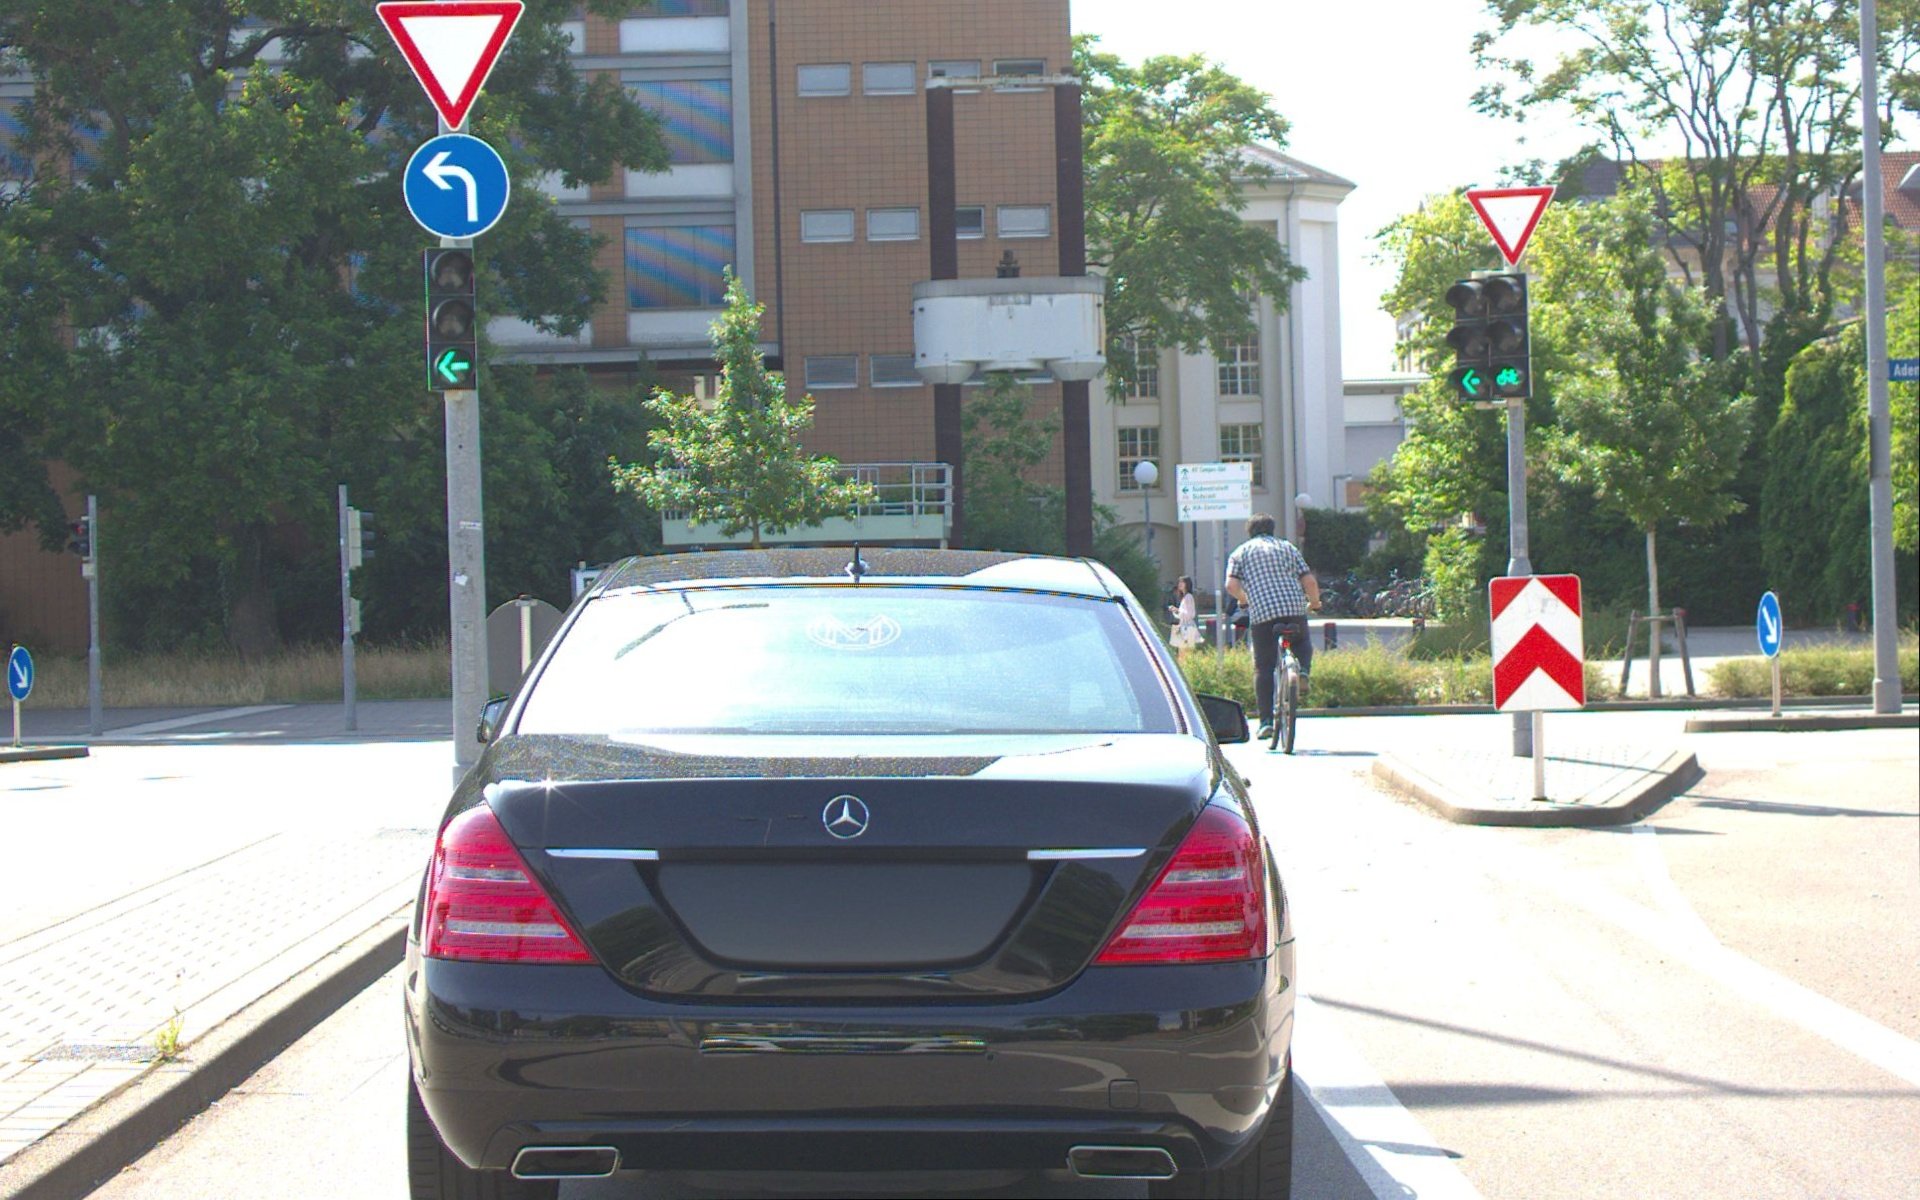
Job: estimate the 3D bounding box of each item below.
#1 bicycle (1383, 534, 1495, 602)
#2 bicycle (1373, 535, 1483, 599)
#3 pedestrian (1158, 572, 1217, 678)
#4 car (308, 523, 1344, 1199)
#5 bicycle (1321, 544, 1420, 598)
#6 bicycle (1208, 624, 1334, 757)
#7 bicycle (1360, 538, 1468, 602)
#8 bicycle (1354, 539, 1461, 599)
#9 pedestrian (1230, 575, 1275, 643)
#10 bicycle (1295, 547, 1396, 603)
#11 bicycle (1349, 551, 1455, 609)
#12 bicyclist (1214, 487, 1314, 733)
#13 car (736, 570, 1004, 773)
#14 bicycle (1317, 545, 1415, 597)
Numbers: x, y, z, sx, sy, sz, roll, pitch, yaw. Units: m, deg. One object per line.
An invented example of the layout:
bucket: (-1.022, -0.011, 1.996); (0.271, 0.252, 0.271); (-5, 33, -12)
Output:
bicycle: (12.854, -0.864, 92.326); (2.823, 1.738, 0.842); (-2, 1, -1)
bicycle: (12.716, -0.893, 93.426); (2.823, 1.643, 0.842); (-2, 1, -1)
pedestrian: (3.437, 0.370, 51.956); (0.811, 1.574, 0.692); (-2, 0, 2)
car: (-0.314, 0.615, 8.554); (1.858, 1.525, 4.714); (0, 0, -2)
bicycle: (12.299, -0.872, 103.089); (2.823, 1.495, 0.842); (-2, 1, -1)
bicycle: (2.363, 0.673, 26.306); (0.692, 0.943, 1.958); (1, 0, -2)
bicycle: (12.501, -0.838, 94.763); (2.823, 1.653, 0.842); (-2, 2, -1)
bicycle: (12.484, -0.862, 95.950); (2.823, 1.581, 0.842); (-2, 1, -1)
pedestrian: (5.307, 0.163, 62.363); (0.793, 1.209, 0.757); (1, 0, 6)
bicycle: (11.312, -0.732, 100.989); (2.823, 1.553, 0.842); (-2, 1, -1)
bicycle: (12.442, -0.559, 96.754); (2.823, 1.532, 0.842); (-2, 1, -1)
bicyclist: (2.354, 0.074, 26.674); (0.686, 1.872, 0.860); (0, 0, -1)
car: (-0.701, 0.526, 27.865); (1.993, 1.503, 4.000); (1, 0, -1)
bicycle: (12.292, -0.894, 104.153); (2.823, 1.475, 0.841); (-2, 1, 0)
